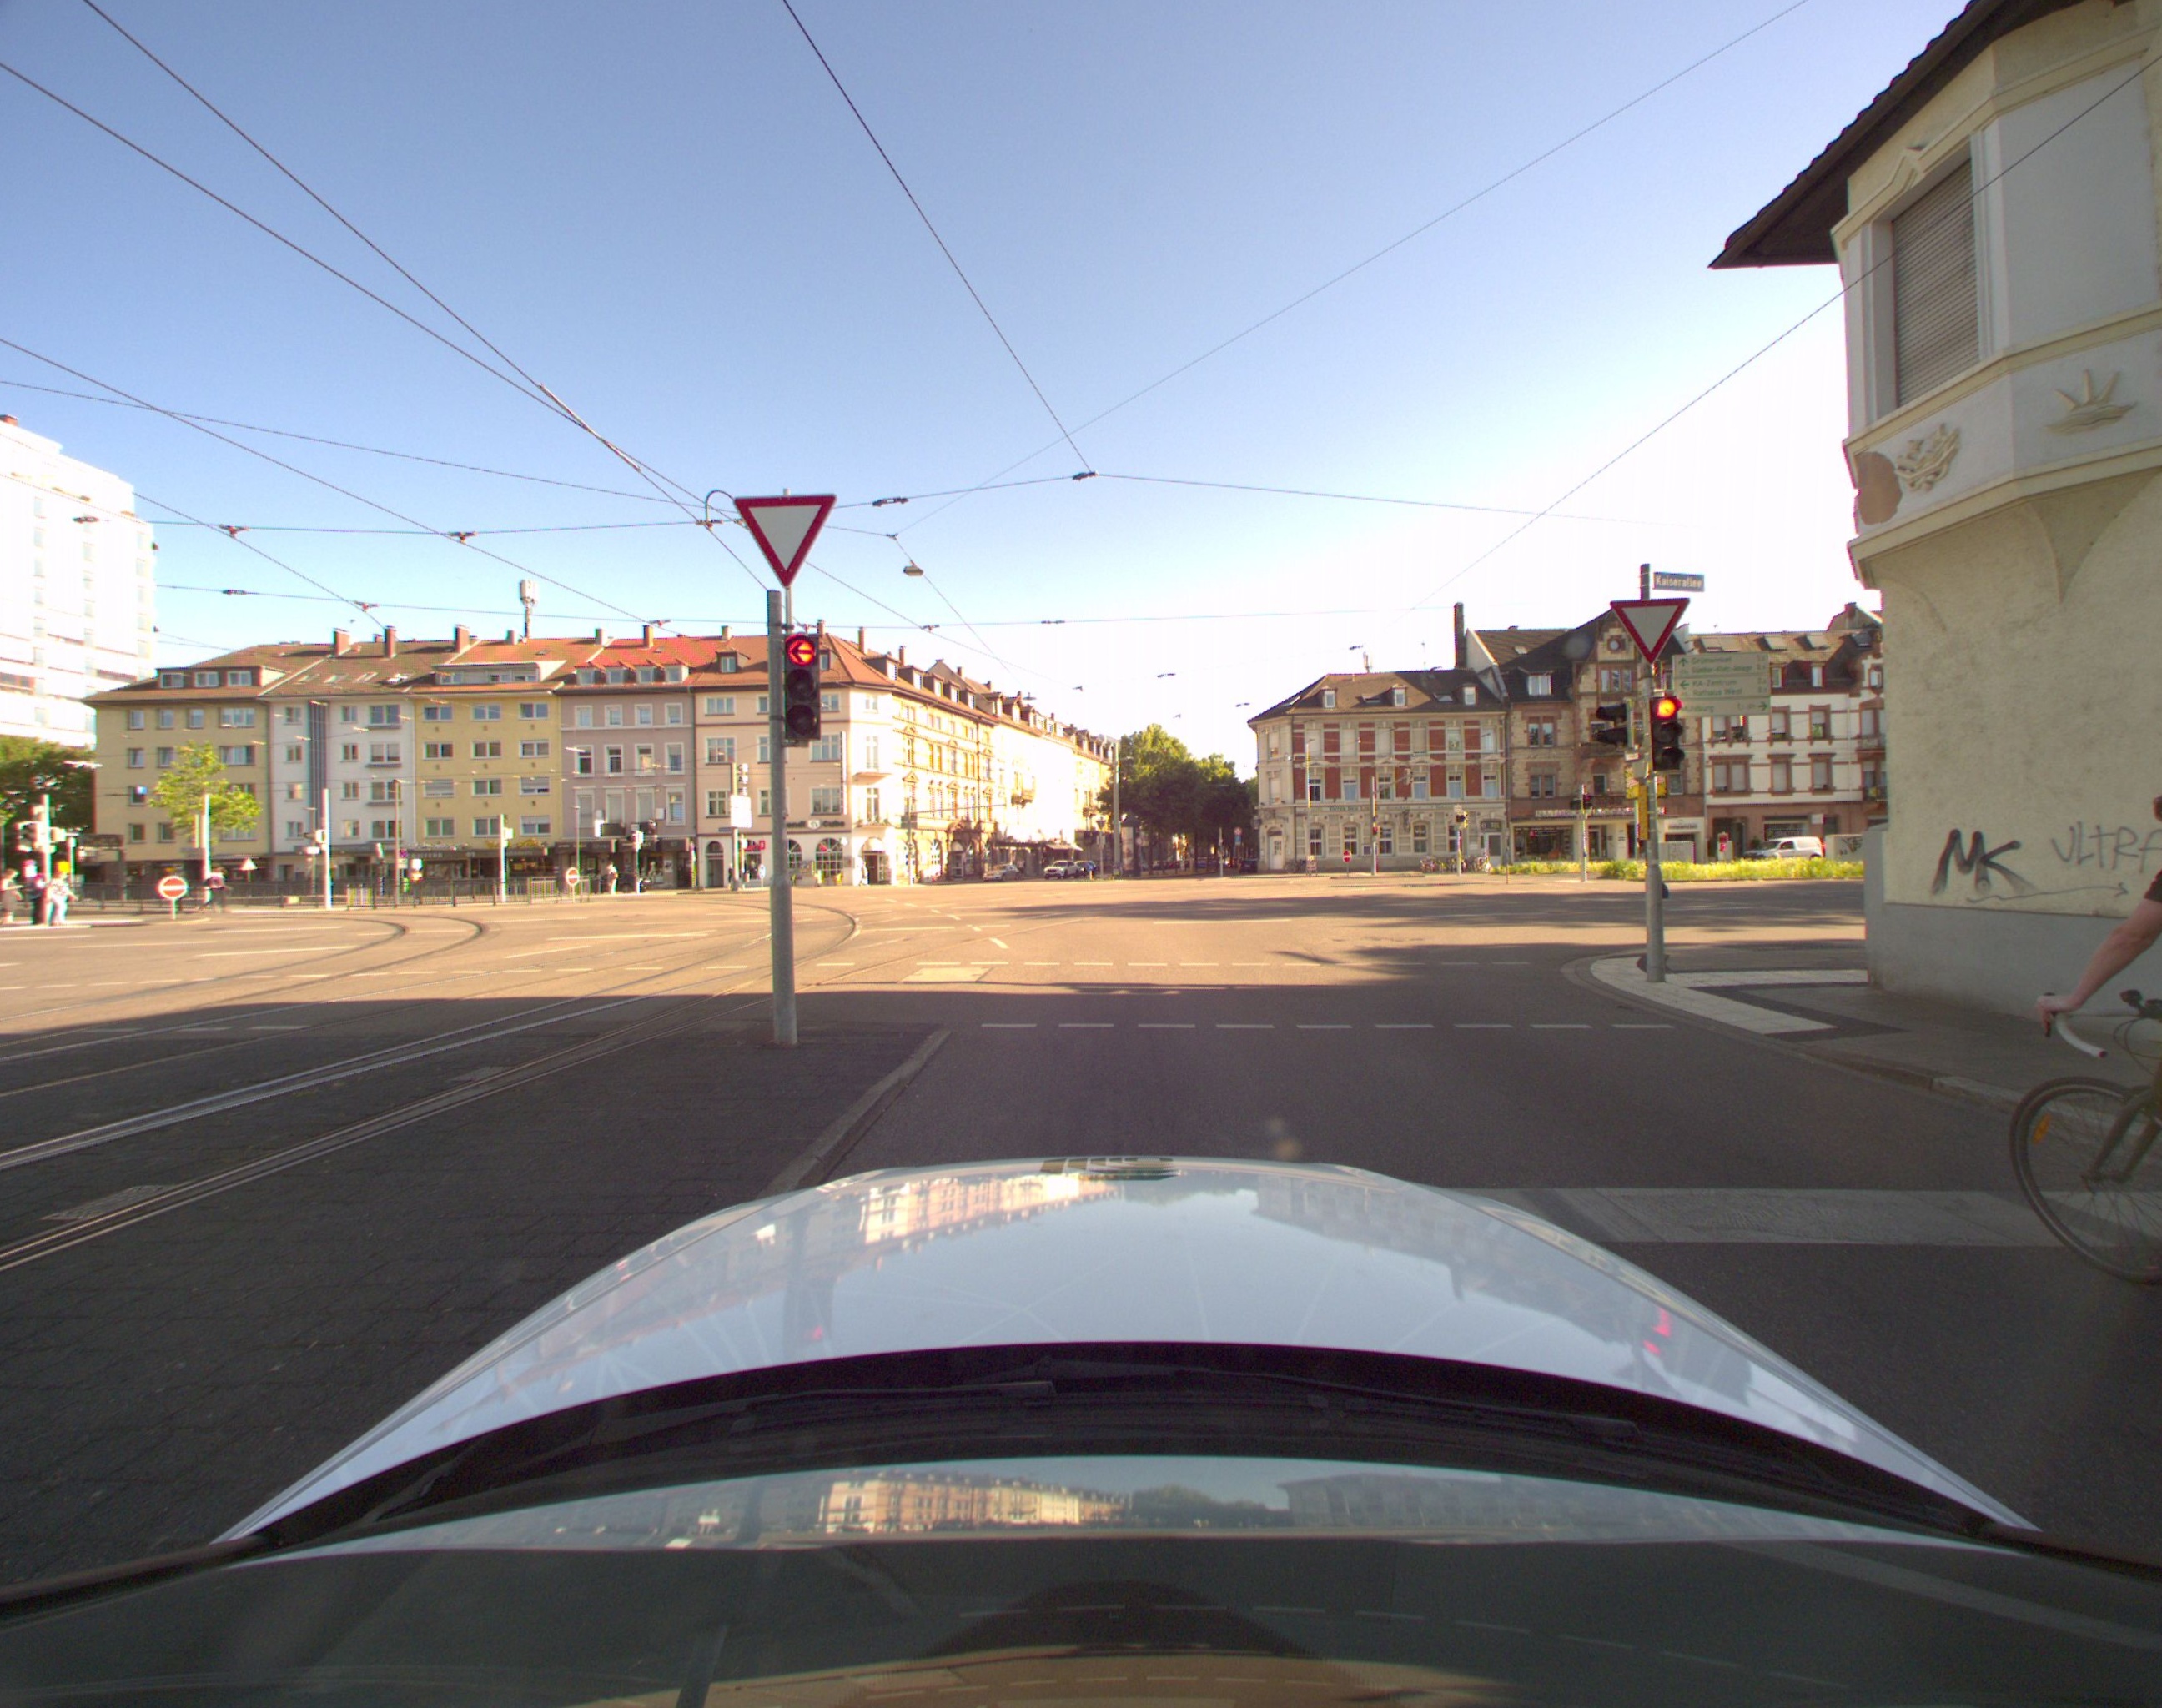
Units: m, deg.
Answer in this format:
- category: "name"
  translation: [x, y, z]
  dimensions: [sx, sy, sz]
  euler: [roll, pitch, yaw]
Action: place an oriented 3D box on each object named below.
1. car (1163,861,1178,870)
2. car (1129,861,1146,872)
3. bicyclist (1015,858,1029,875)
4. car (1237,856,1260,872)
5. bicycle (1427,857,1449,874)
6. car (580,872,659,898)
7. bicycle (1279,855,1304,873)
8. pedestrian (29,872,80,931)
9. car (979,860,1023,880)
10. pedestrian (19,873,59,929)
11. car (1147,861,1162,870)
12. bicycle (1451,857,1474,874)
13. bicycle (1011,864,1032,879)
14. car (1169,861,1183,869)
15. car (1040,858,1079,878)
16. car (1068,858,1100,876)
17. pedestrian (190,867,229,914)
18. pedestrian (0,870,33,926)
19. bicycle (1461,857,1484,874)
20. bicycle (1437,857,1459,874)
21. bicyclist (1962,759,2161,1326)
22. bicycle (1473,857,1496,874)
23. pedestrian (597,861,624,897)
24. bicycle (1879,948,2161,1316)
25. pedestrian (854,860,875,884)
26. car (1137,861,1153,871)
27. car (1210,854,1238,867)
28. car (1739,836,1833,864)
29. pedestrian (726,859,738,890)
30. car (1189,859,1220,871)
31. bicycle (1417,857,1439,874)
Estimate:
- category: "car"
  translation: [14.438, 1.810, 131.462]
  dimensions: [1.728, 1.397, 4.141]
  euler: [1, 0, 16]
- category: "car"
  translation: [7.600, 1.650, 110.007]
  dimensions: [1.729, 1.397, 4.137]
  euler: [1, 0, 12]
- category: "bicyclist"
  translation: [-4.768, 0.986, 65.876]
  dimensions: [0.787, 1.375, 1.113]
  euler: [-1, 0, 16]
- category: "car"
  translation: [16.903, 0.991, 82.057]
  dimensions: [1.637, 1.524, 3.772]
  euler: [-2, -1, 20]
- category: "bicycle"
  translation: [23.148, 0.734, 52.875]
  dimensions: [0.603, 1.051, 1.641]
  euler: [-1, 0, -3]
- category: "car"
  translation: [-30.276, 1.991, 53.537]
  dimensions: [3.978, 1.464, 1.998]
  euler: [-2, 0, -4]
- category: "bicycle"
  translation: [14.694, 0.690, 56.944]
  dimensions: [1.625, 1.222, 0.609]
  euler: [-1, 0, 18]
- category: "pedestrian"
  translation: [-30.506, 1.406, 24.214]
  dimensions: [0.747, 1.698, 0.551]
  euler: [-1, 0, -24]
- category: "car"
  translation: [-6.600, 1.303, 67.704]
  dimensions: [2.080, 1.545, 4.382]
  euler: [-2, 0, 16]
- category: "pedestrian"
  translation: [-31.799, 1.421, 24.864]
  dimensions: [0.789, 1.625, 0.717]
  euler: [-2, 0, 39]
- category: "car"
  translation: [11.061, 1.728, 122.714]
  dimensions: [1.729, 1.397, 4.137]
  euler: [1, 0, 12]
- category: "bicycle"
  translation: [24.638, 0.721, 52.575]
  dimensions: [0.603, 1.051, 1.641]
  euler: [-1, 0, -3]
- category: "bicycle"
  translation: [-4.771, 1.430, 65.904]
  dimensions: [0.745, 1.135, 2.821]
  euler: [-1, 0, 16]
- category: "car"
  translation: [15.862, 1.833, 136.209]
  dimensions: [1.728, 1.397, 4.141]
  euler: [1, 0, 16]
- category: "car"
  translation: [-1.732, 1.162, 67.374]
  dimensions: [2.080, 1.499, 4.017]
  euler: [-1, 0, 16]
- category: "car"
  translation: [0.289, 1.150, 73.698]
  dimensions: [1.979, 1.513, 4.015]
  euler: [-1, 0, 14]
- category: "pedestrian"
  translation: [-32.011, 1.331, 29.920]
  dimensions: [0.698, 1.698, 0.776]
  euler: [-1, 0, -22]
- category: "pedestrian"
  translation: [-33.391, 1.374, 25.489]
  dimensions: [0.553, 1.698, 0.497]
  euler: [-2, 0, 8]
- category: "bicycle"
  translation: [25.313, 0.716, 52.625]
  dimensions: [0.603, 1.051, 1.641]
  euler: [-1, 0, -3]
- category: "bicycle"
  translation: [23.811, 0.730, 52.875]
  dimensions: [0.603, 1.051, 1.641]
  euler: [-1, 0, -3]
- category: "bicyclist"
  translation: [3.578, 0.575, 2.501]
  dimensions: [0.557, 1.730, 1.084]
  euler: [0, -1, 2]
- category: "bicycle"
  translation: [26.051, 0.711, 52.617]
  dimensions: [0.603, 1.051, 1.641]
  euler: [-1, 0, -3]
- category: "pedestrian"
  translation: [-24.572, 1.310, 42.561]
  dimensions: [0.871, 1.818, 0.811]
  euler: [-1, 0, 2]
- category: "bicycle"
  translation: [3.580, 0.908, 2.513]
  dimensions: [0.530, 1.016, 1.759]
  euler: [-1, 0, 2]
- category: "pedestrian"
  translation: [-15.024, 1.230, 56.505]
  dimensions: [1.074, 1.591, 1.030]
  euler: [-1, 0, -40]
- category: "car"
  translation: [9.174, 1.685, 115.778]
  dimensions: [1.729, 1.397, 4.137]
  euler: [1, 0, 12]
- category: "car"
  translation: [23.370, 1.086, 133.077]
  dimensions: [4.074, 1.919, 1.756]
  euler: [1, 0, 23]
- category: "car"
  translation: [45.383, -0.232, 52.478]
  dimensions: [4.356, 1.654, 1.999]
  euler: [-1, 0, -2]
- category: "pedestrian"
  translation: [-22.780, 1.357, 53.127]
  dimensions: [0.506, 2.013, 0.505]
  euler: [-1, 0, 5]
- category: "car"
  translation: [17.484, 1.525, 114.998]
  dimensions: [4.078, 1.646, 1.754]
  euler: [1, 0, 17]
- category: "bicycle"
  translation: [22.494, 0.739, 52.845]
  dimensions: [0.603, 1.051, 1.641]
  euler: [-1, 0, -3]
